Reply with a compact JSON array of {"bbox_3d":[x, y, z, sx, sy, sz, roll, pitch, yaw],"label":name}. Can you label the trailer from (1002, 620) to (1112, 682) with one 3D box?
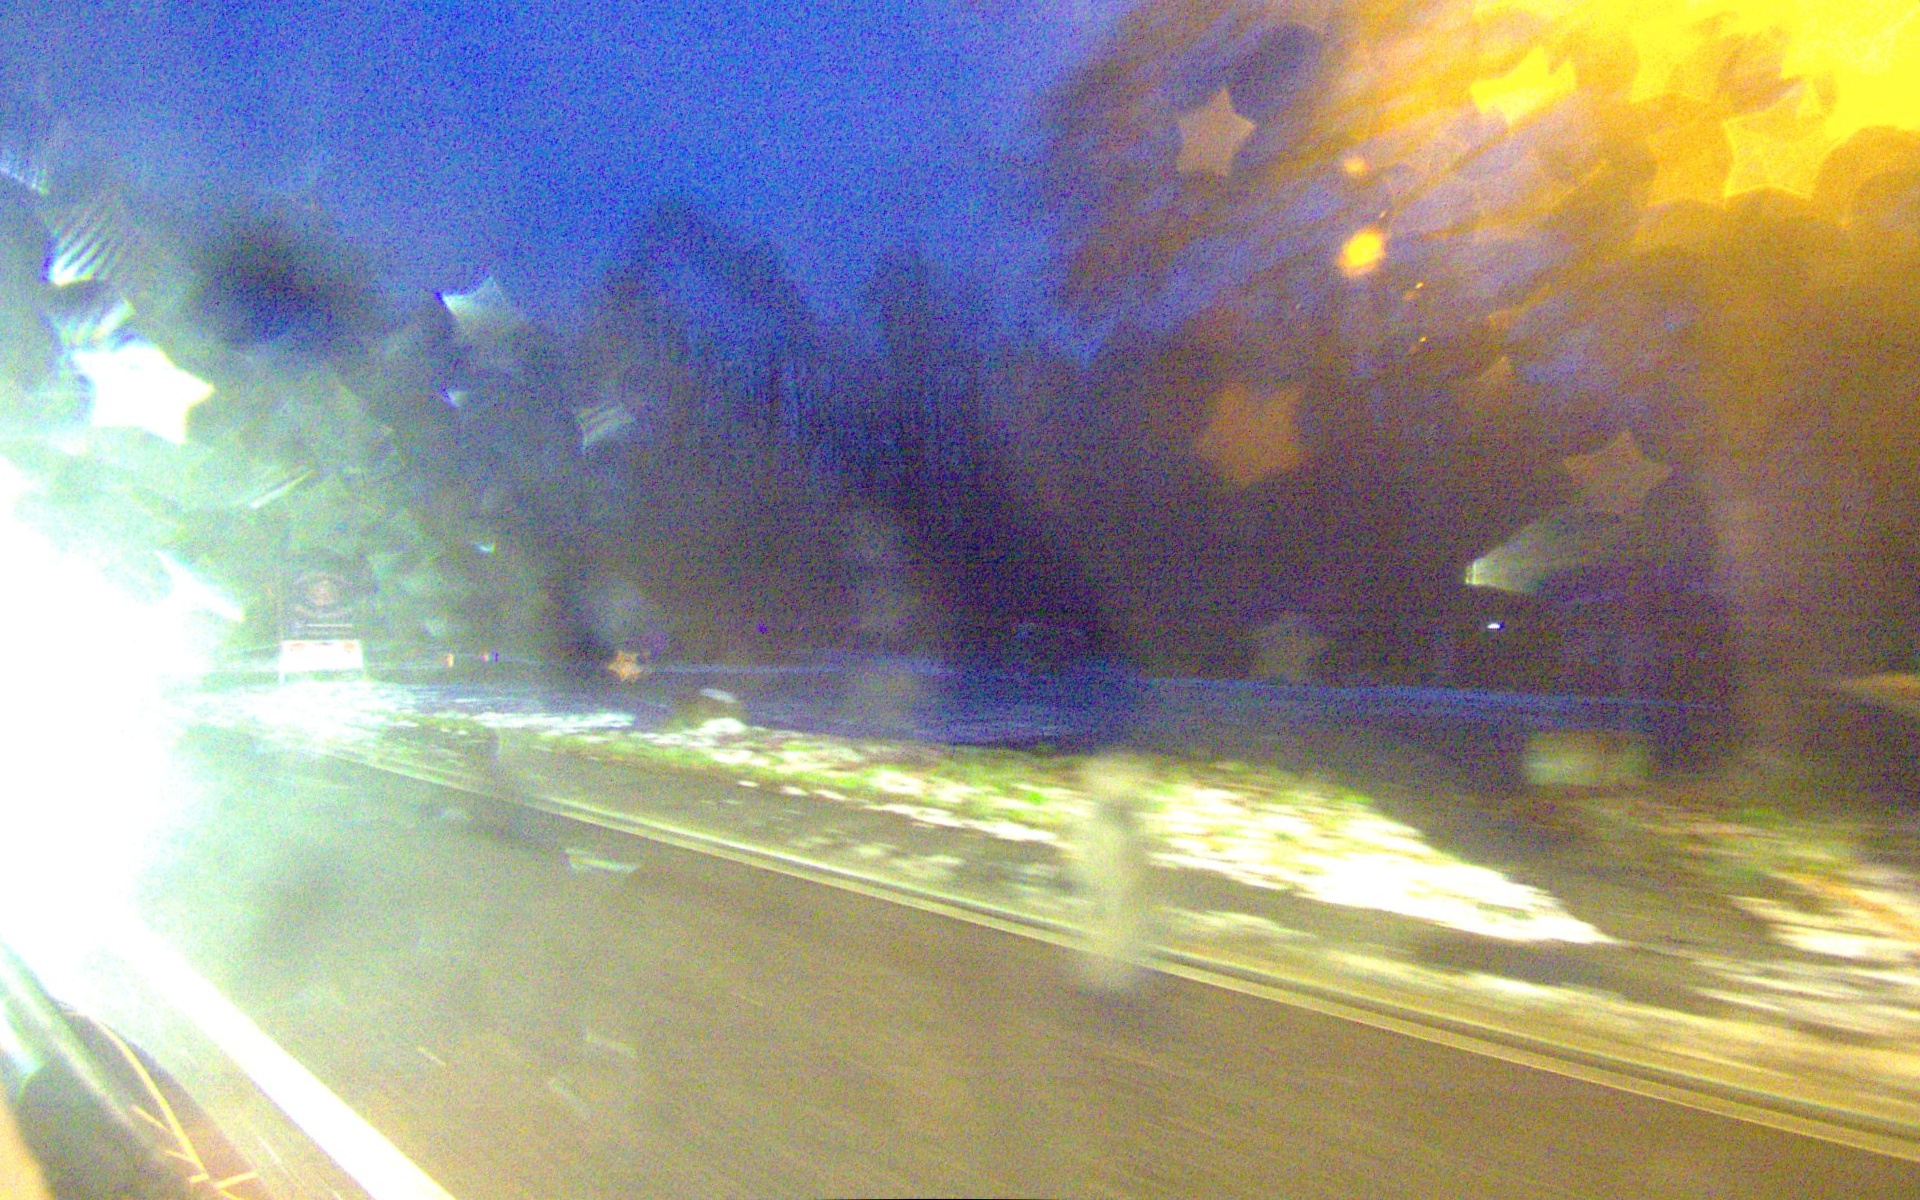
[{"bbox_3d":[3.820,2.008,39.869,3.745,2.234,1.980,4,-2,-30],"label":"trailer"}]
